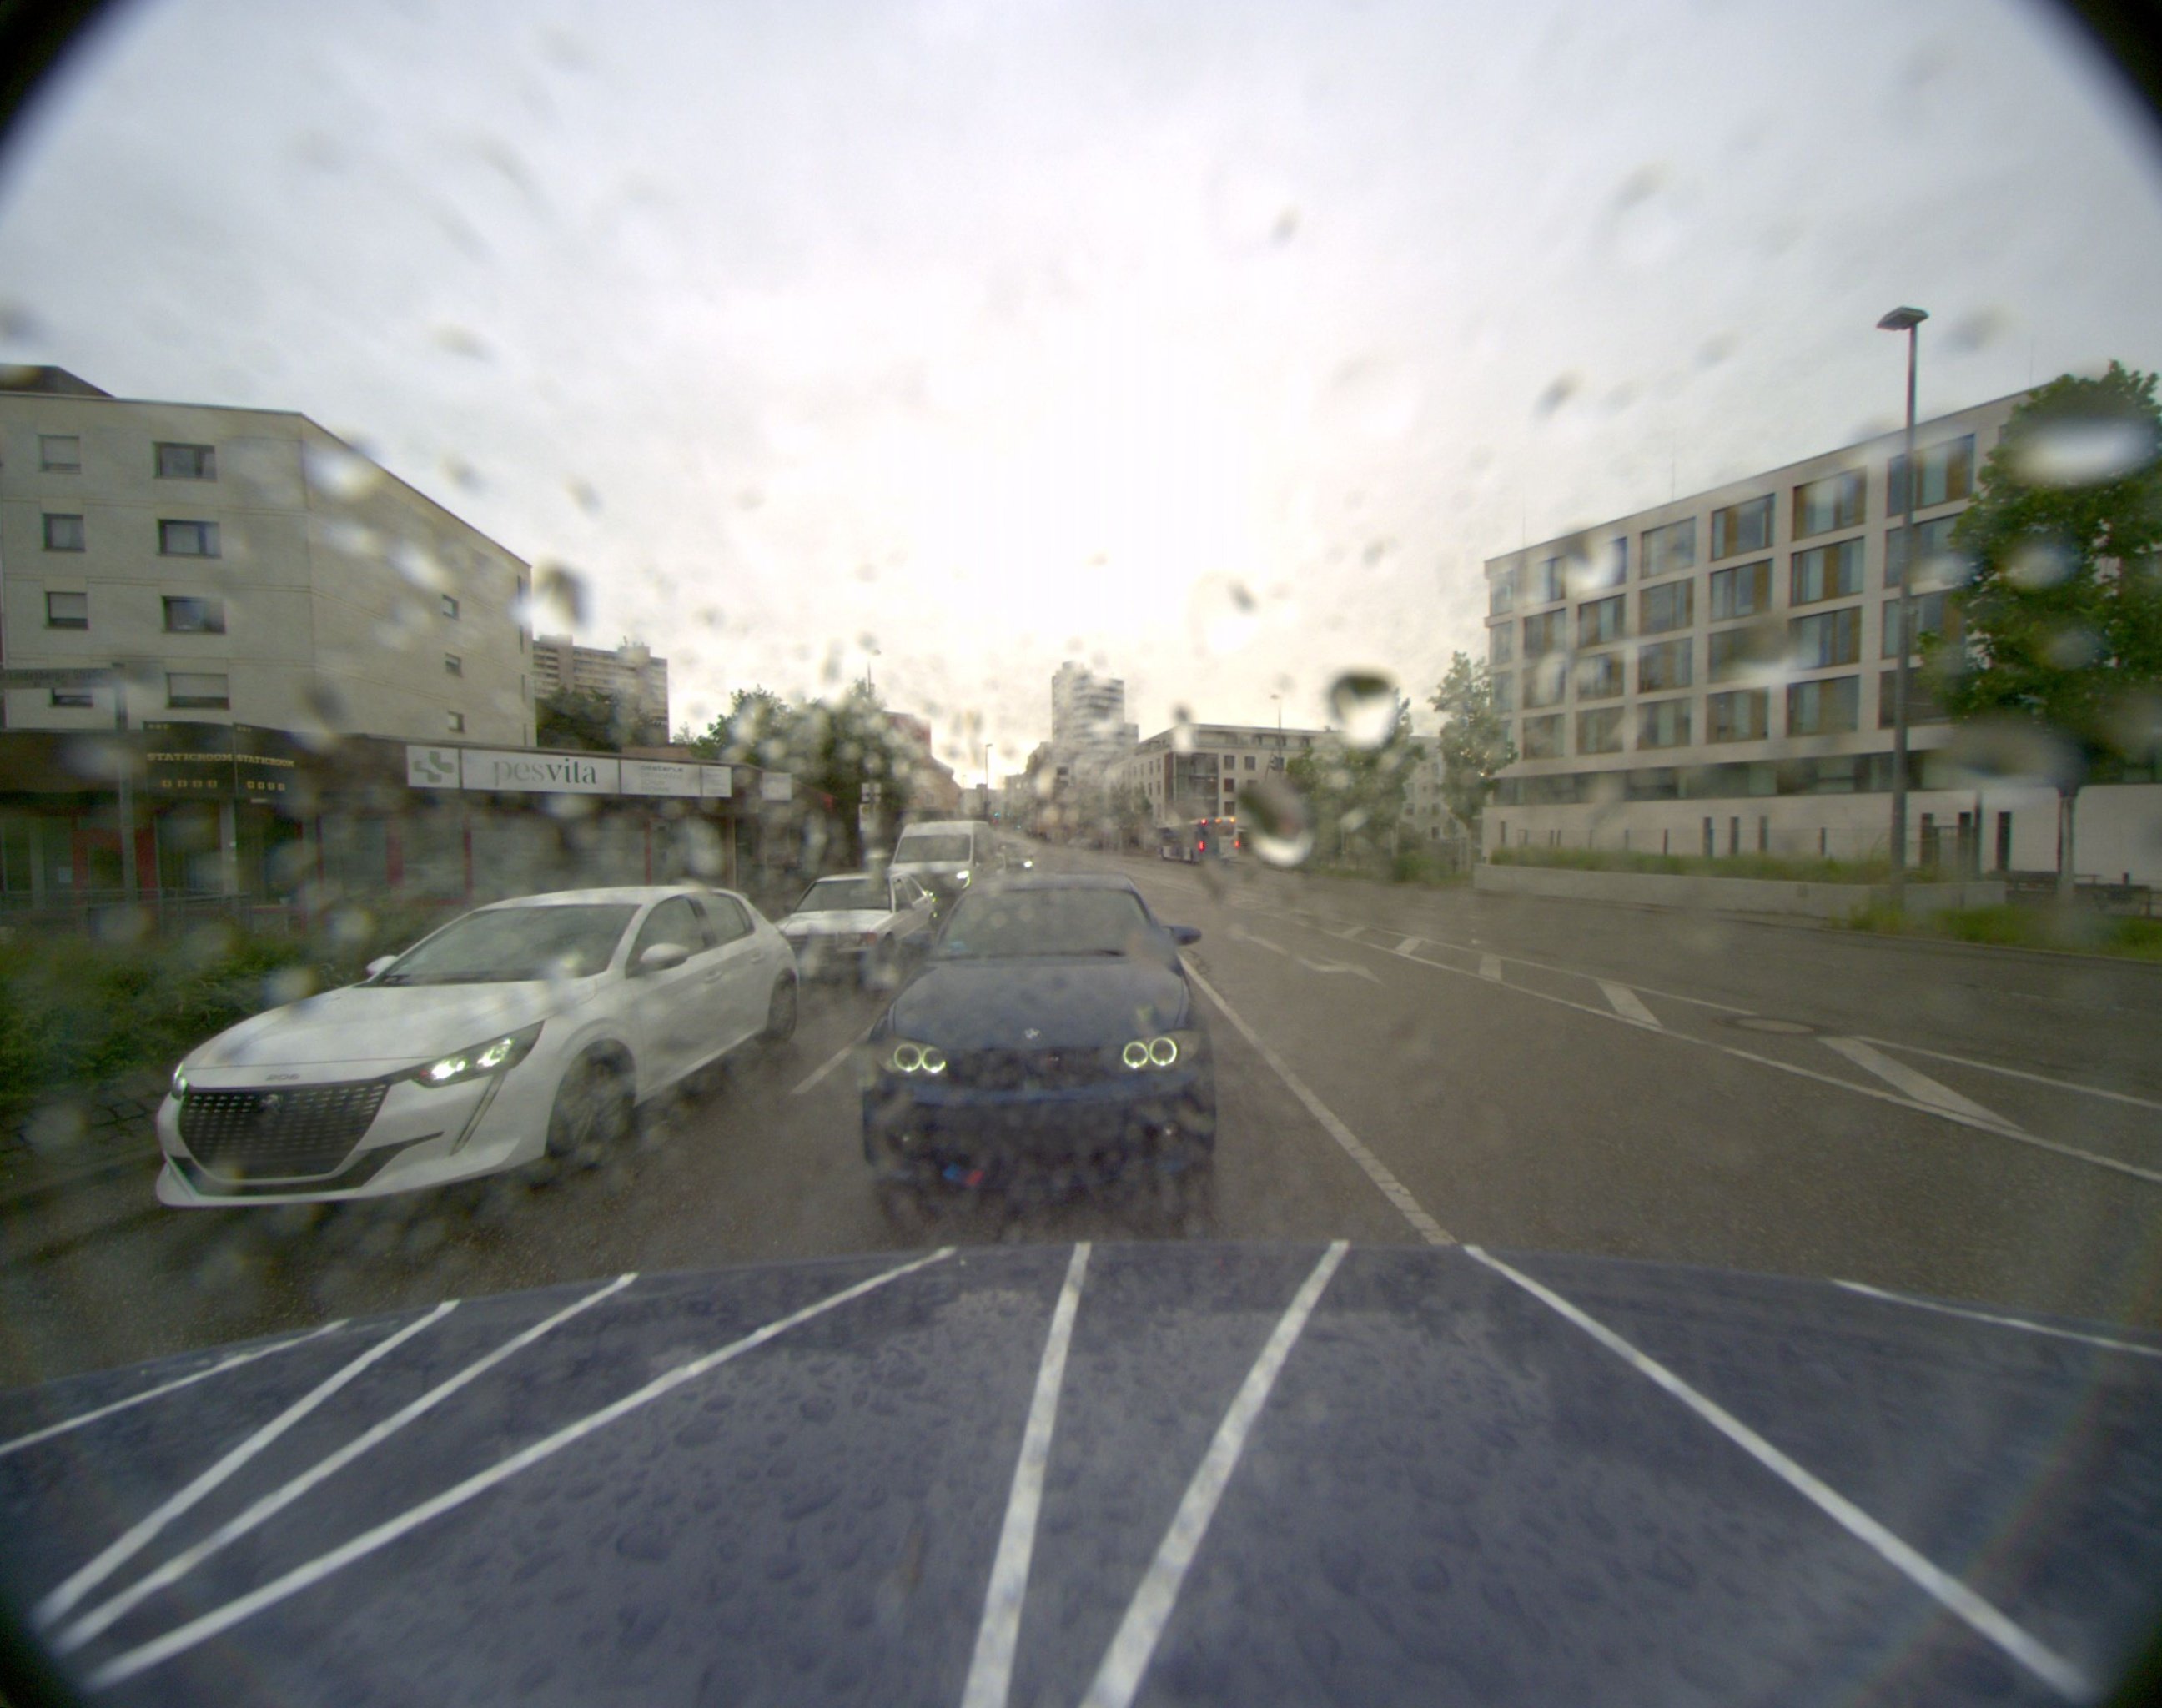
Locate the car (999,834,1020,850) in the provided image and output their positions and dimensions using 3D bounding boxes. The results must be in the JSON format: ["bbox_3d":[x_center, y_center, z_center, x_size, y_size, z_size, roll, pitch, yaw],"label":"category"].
[{"bbox_3d":[-8.024,-1.314,85.503,1.879,1.745,4.000,1,0,1],"label":"car"}]

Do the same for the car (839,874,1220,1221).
[{"bbox_3d":[-0.274,0.932,5.463,1.693,1.380,3.999,-2,1,-1],"label":"car"}]

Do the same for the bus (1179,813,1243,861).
[{"bbox_3d":[9.024,-1.179,53.946,2.784,3.096,9.365,-1,1,-1],"label":"bus"}]

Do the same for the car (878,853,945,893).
[{"bbox_3d":[-6.952,0.740,31.559,1.788,1.481,4.000,-2,1,1],"label":"car"}]

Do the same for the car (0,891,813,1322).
[{"bbox_3d":[-3.377,1.091,5.024,1.666,1.407,4.114,-2,1,1],"label":"car"}]

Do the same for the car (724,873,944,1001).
[{"bbox_3d":[-3.361,1.058,11.276,1.788,1.338,4.162,-2,1,1],"label":"car"}]

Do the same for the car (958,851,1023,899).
[{"bbox_3d":[-3.276,0.719,28.209,1.803,1.530,3.999,-2,1,1],"label":"car"}]

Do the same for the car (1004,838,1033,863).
[{"bbox_3d":[-5.205,-0.308,63.961,1.998,2.002,3.999,0,1,1],"label":"car"}]

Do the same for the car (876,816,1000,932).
[{"bbox_3d":[-3.483,0.382,19.895,2.197,2.503,6.120,-1,1,-2],"label":"car"}]

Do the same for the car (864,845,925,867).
[{"bbox_3d":[-12.961,0.117,53.025,4.000,1.419,1.882,-1,1,-10],"label":"car"}]

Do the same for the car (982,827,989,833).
[{"bbox_3d":[-26.711,-6.746,211.472,1.666,1.625,3.801,-2,1,-11],"label":"car"}]

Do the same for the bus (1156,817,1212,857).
[{"bbox_3d":[8.409,-1.360,63.069,2.800,3.096,8.879,-1,1,-5],"label":"bus"}]

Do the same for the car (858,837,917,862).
[{"bbox_3d":[-14.094,-0.324,55.403,4.000,1.769,1.882,-1,1,-10],"label":"car"}]

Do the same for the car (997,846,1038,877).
[{"bbox_3d":[-3.497,0.378,42.744,1.999,1.559,3.998,-2,1,-1],"label":"car"}]
